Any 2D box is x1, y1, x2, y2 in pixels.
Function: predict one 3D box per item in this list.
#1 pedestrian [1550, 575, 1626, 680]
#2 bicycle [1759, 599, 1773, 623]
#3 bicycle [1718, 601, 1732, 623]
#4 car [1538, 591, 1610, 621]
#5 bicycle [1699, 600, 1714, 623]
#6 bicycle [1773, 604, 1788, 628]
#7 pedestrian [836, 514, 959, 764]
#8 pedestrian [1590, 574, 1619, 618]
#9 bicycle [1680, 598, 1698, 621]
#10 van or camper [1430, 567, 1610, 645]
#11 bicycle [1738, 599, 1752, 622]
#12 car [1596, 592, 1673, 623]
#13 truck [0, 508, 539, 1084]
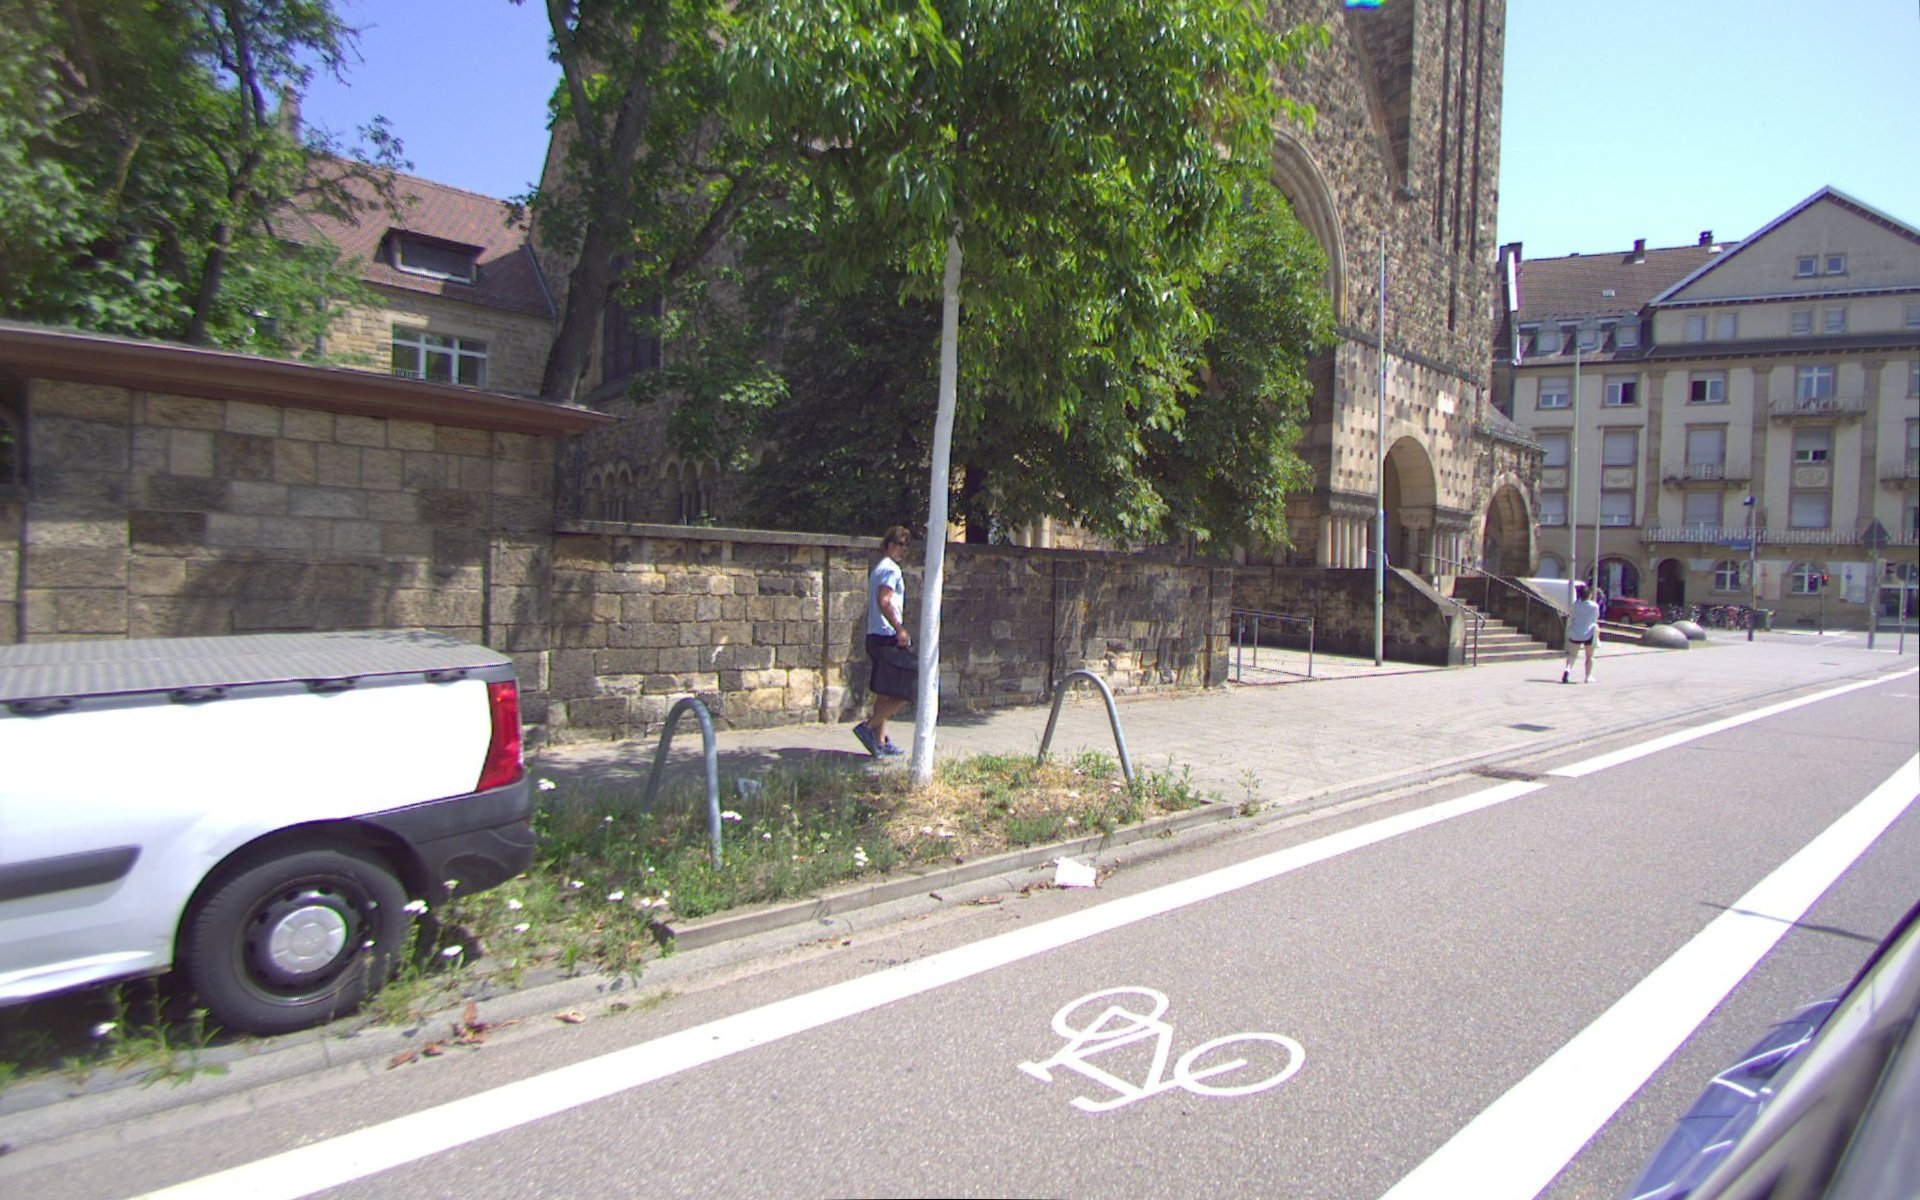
[{"bbox_3d":[10.494,0.438,16.916,0.949,1.671,0.796,1,1,-39],"label":"pedestrian"},{"bbox_3d":[43.332,0.584,54.400,0.562,1.165,1.780,2,2,38],"label":"bicycle"},{"bbox_3d":[41.638,0.644,55.051,0.562,1.165,1.780,2,2,38],"label":"bicycle"},{"bbox_3d":[34.471,0.291,56.926,1.583,1.497,3.235,-1,3,-15],"label":"car"},{"bbox_3d":[40.571,0.622,54.977,0.562,1.165,1.780,2,2,38],"label":"bicycle"},{"bbox_3d":[42.973,0.803,53.027,0.562,1.165,2.032,2,2,38],"label":"bicycle"},{"bbox_3d":[-0.473,0.271,7.626,0.666,1.777,0.622,1,0,-39],"label":"pedestrian"},{"bbox_3d":[27.260,-0.162,42.809,0.817,1.845,0.745,1,0,-33],"label":"pedestrian"},{"bbox_3d":[39.490,0.502,54.824,0.560,1.165,1.787,1,2,29],"label":"bicycle"},{"bbox_3d":[15.725,0.126,28.550,1.771,1.848,3.995,4,1,-42],"label":"van or camper"},{"bbox_3d":[42.583,0.560,54.893,0.562,1.165,1.780,2,2,38],"label":"bicycle"},{"bbox_3d":[36.938,0.386,55.513,1.583,1.497,3.235,-1,3,-15],"label":"car"},{"bbox_3d":[-3.730,0.490,2.798,4.392,1.545,1.791,0,2,-45],"label":"truck"}]
